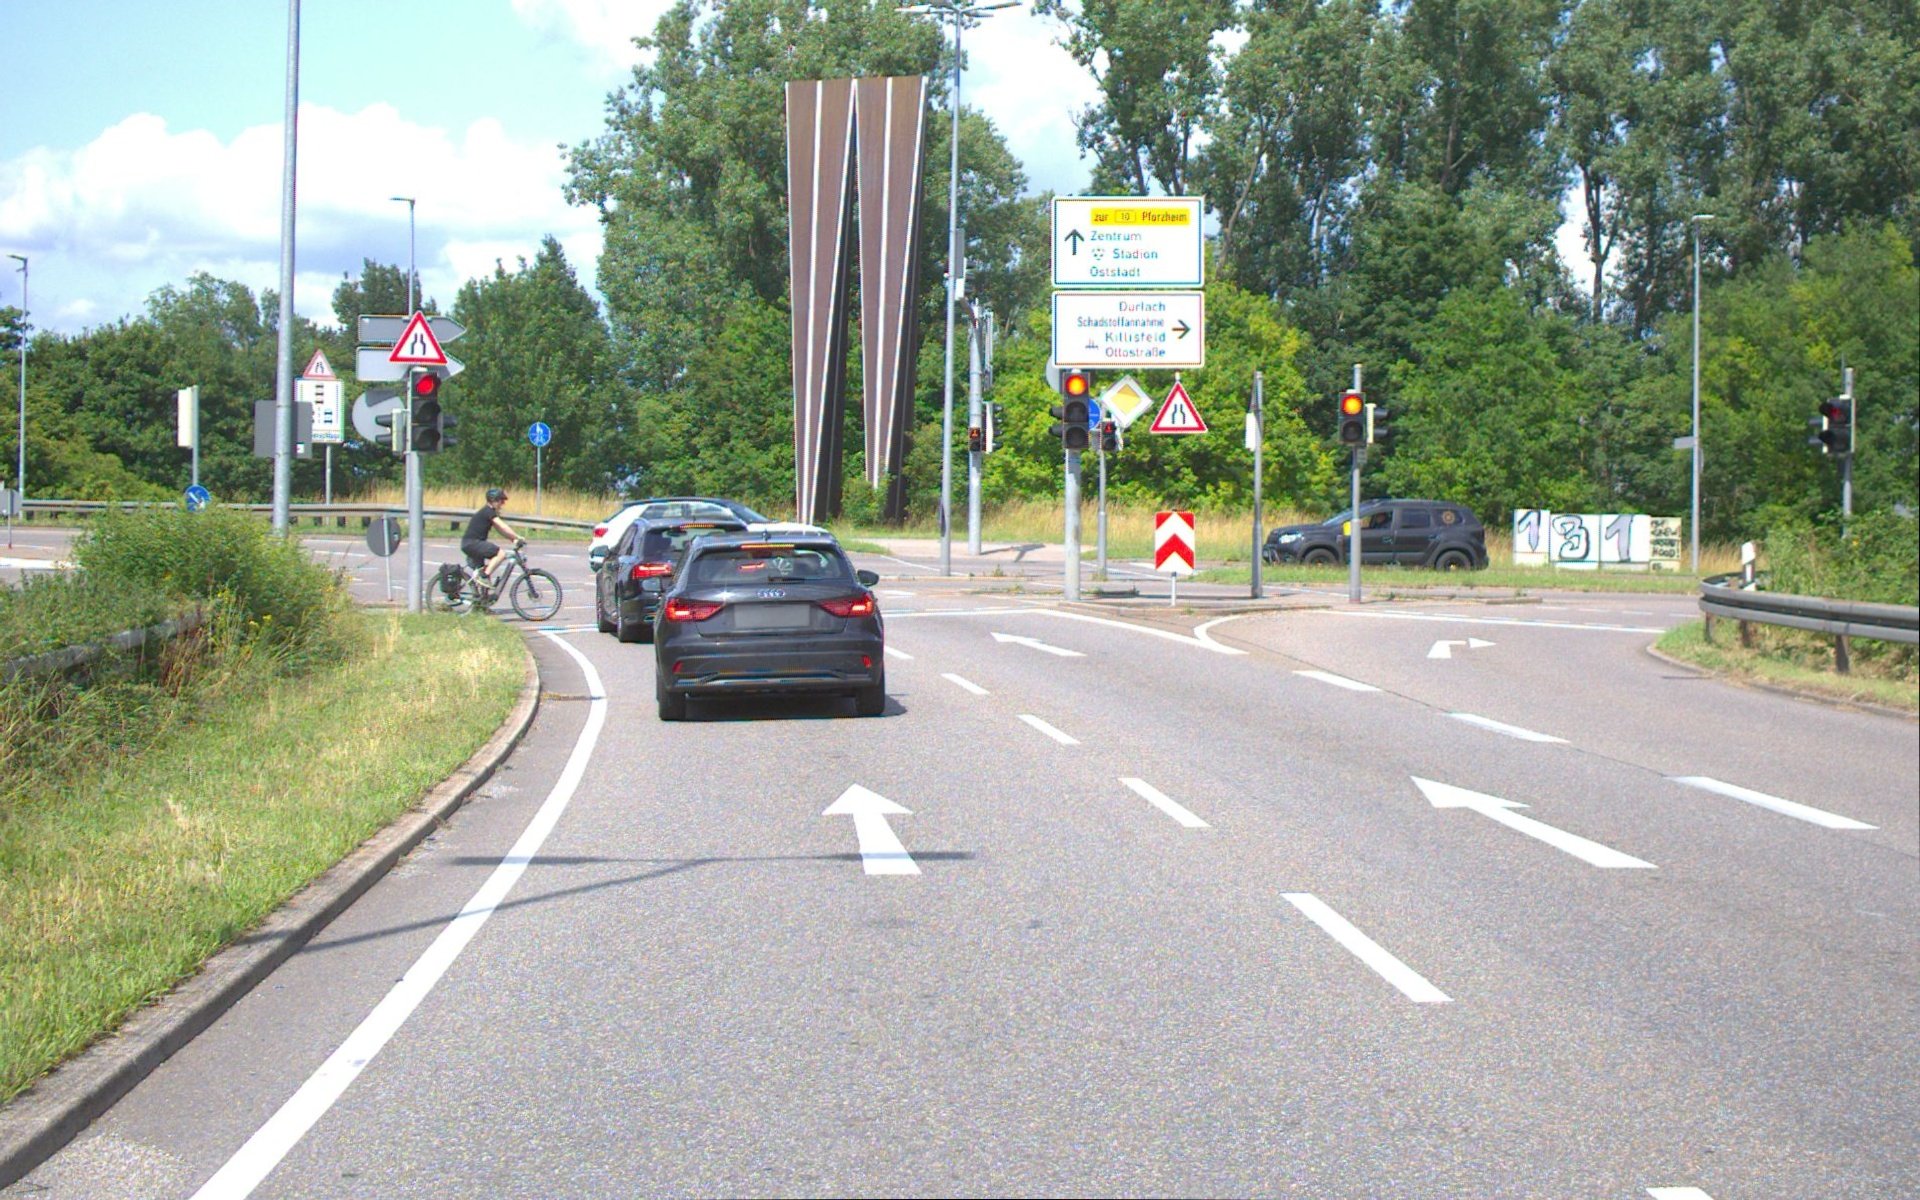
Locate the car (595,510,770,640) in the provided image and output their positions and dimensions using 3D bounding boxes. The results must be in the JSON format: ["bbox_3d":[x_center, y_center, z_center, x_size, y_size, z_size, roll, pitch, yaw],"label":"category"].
[{"bbox_3d":[-3.371,-0.336,41.239,1.726,1.418,3.846,-2,2,-10],"label":"car"}]

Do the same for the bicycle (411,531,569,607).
[{"bbox_3d":[-6.401,-0.423,46.792,2.052,1.020,0.672,0,1,-15],"label":"bicycle"}]

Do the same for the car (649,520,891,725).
[{"bbox_3d":[-1.550,0.115,27.222,1.726,1.399,4.001,-2,2,-4],"label":"car"}]

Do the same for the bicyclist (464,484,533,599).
[{"bbox_3d":[-6.285,-0.797,46.816,0.834,1.555,0.672,0,1,-15],"label":"bicyclist"}]

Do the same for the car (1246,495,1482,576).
[{"bbox_3d":[7.850,-1.265,66.935,4.267,1.539,1.737,0,2,-6],"label":"car"}]

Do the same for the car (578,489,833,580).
[{"bbox_3d":[-4.306,-1.114,58.438,4.035,1.471,1.736,1,1,8],"label":"car"}]
